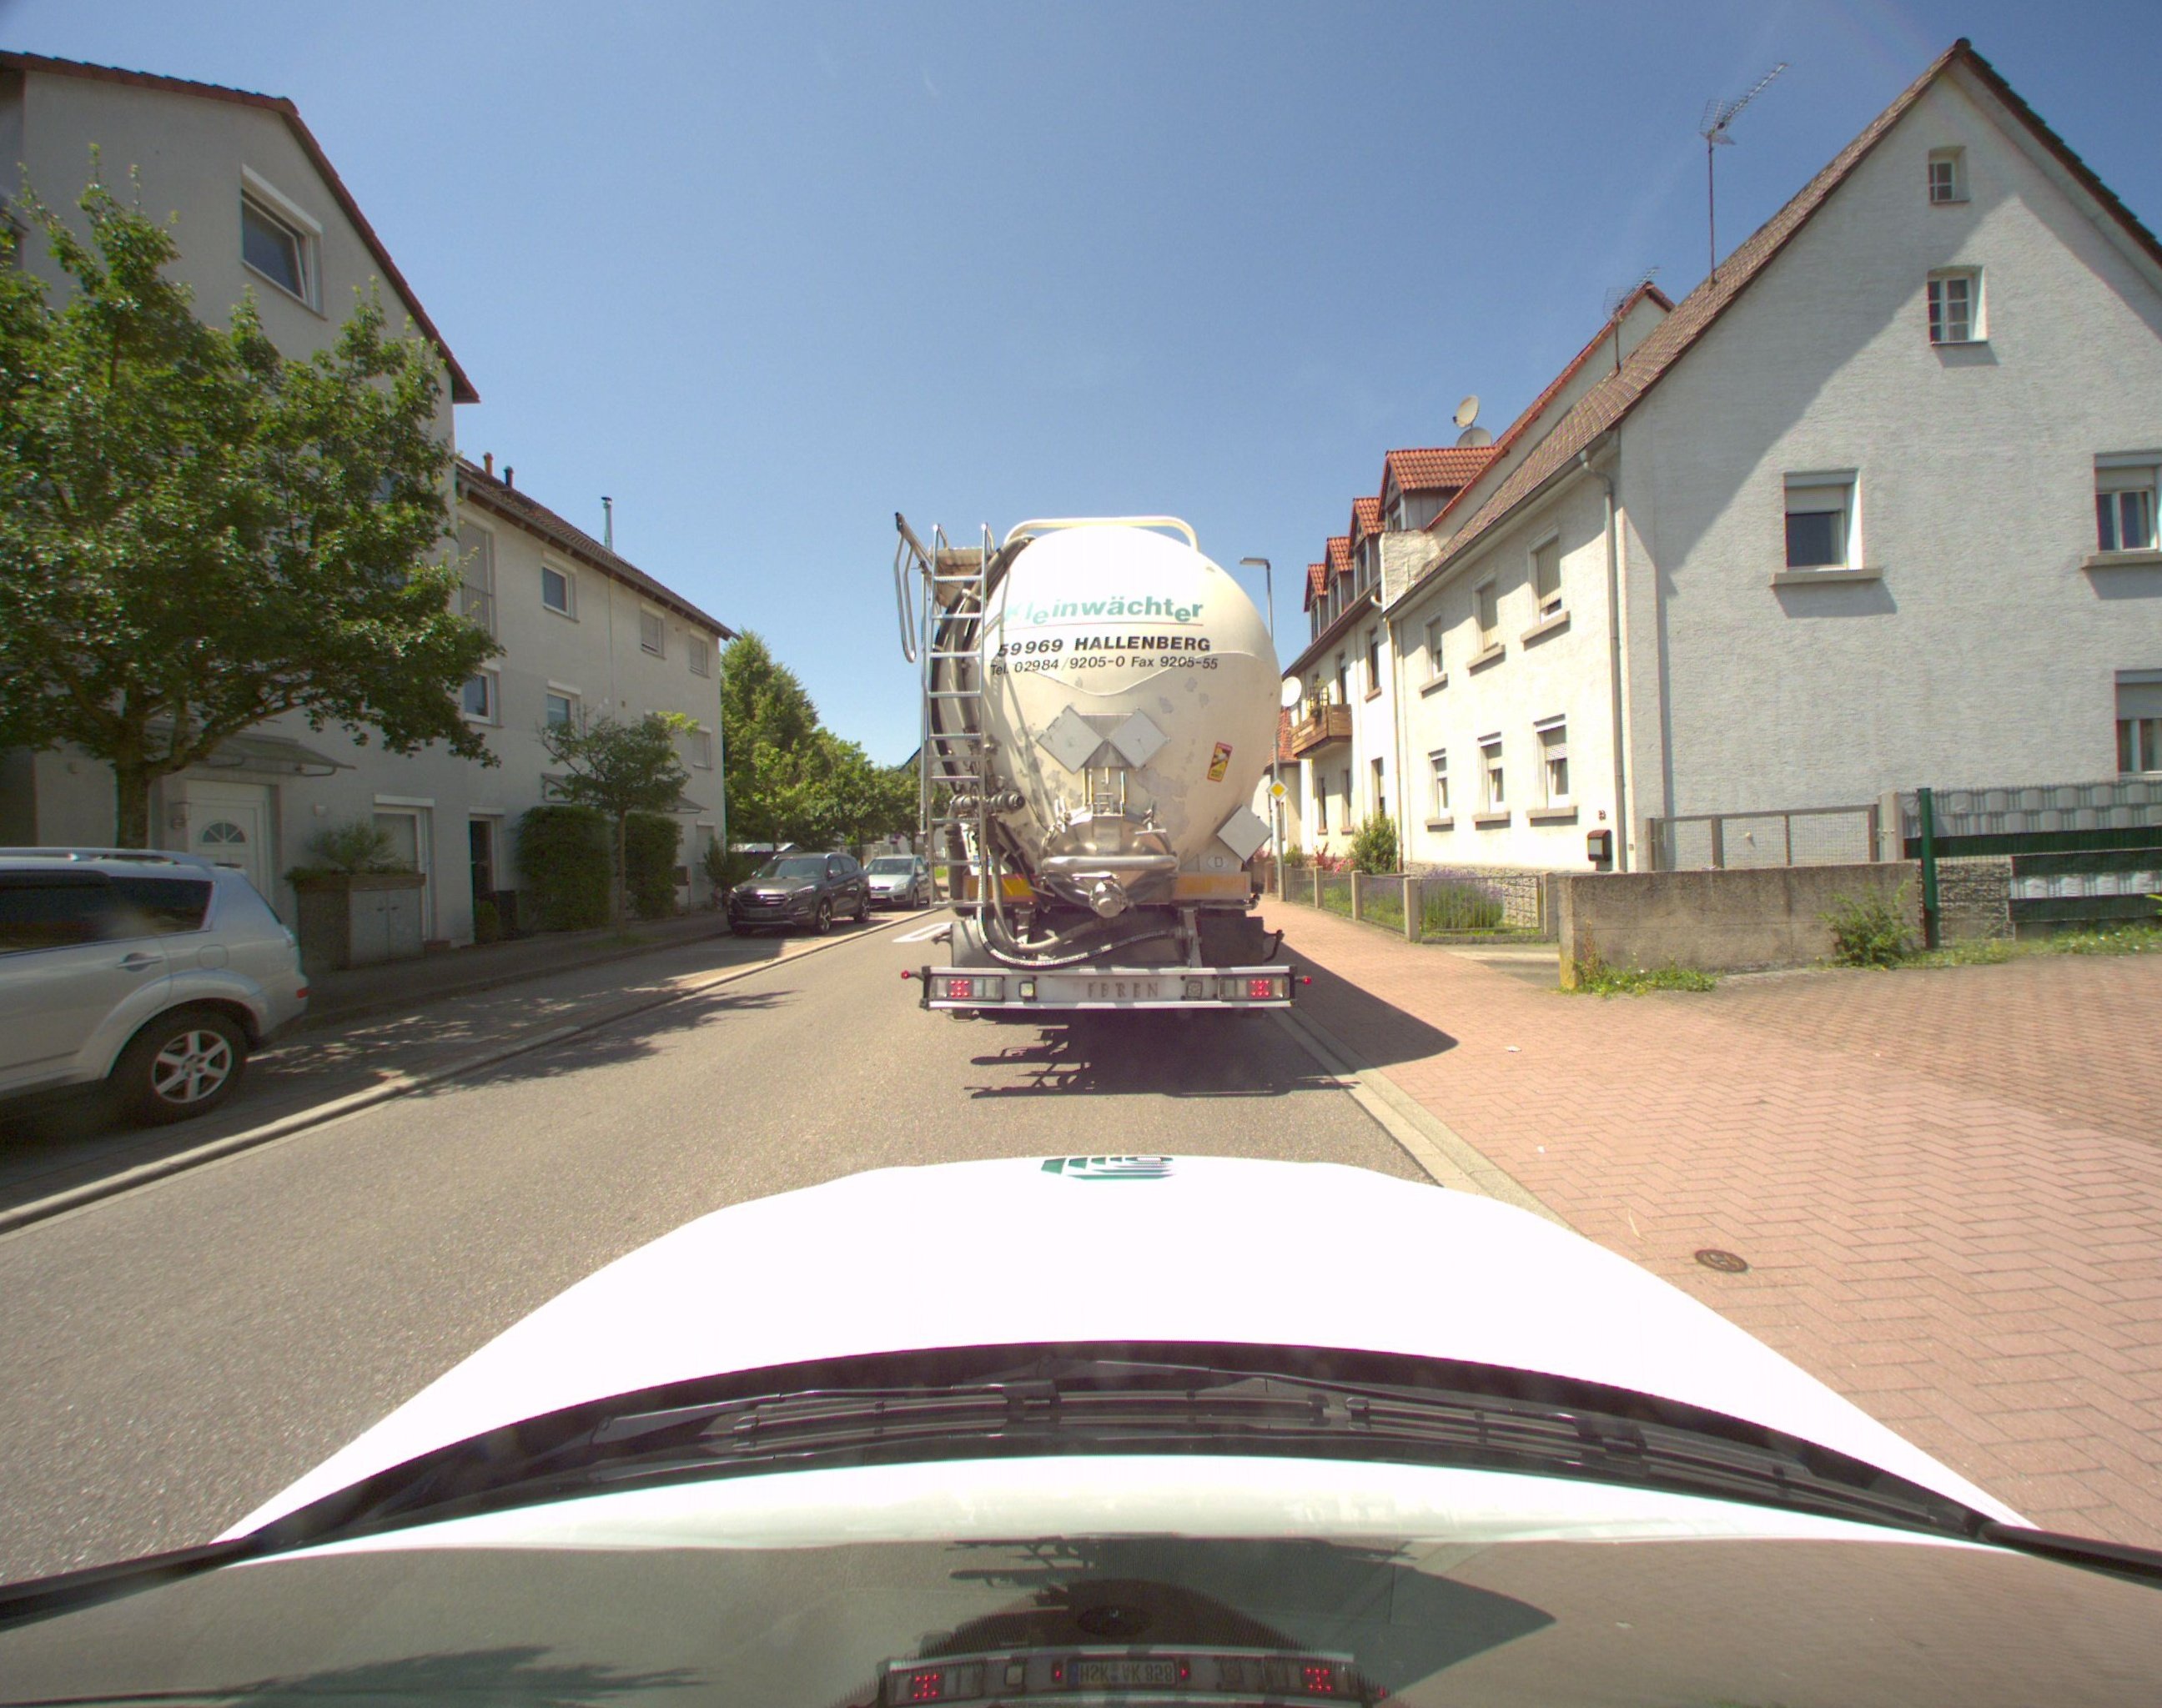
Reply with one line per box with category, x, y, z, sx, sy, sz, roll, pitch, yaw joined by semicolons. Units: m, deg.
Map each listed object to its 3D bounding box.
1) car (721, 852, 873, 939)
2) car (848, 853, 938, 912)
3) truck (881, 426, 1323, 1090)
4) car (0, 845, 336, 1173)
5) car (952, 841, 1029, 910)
car;-5.926;0.779;17.530;1.685;1.620;4.000;-1;0;2
car;-5.491;0.772;24.215;1.691;1.580;3.839;-1;0;1
truck;0.294;-0.606;9.776;2.631;4.015;9.566;-1;0;2
car;-6.418;0.812;3.769;1.700;1.686;4.526;-1;0;1
car;-2.695;0.599;25.223;1.649;1.855;4.466;-3;0;2
